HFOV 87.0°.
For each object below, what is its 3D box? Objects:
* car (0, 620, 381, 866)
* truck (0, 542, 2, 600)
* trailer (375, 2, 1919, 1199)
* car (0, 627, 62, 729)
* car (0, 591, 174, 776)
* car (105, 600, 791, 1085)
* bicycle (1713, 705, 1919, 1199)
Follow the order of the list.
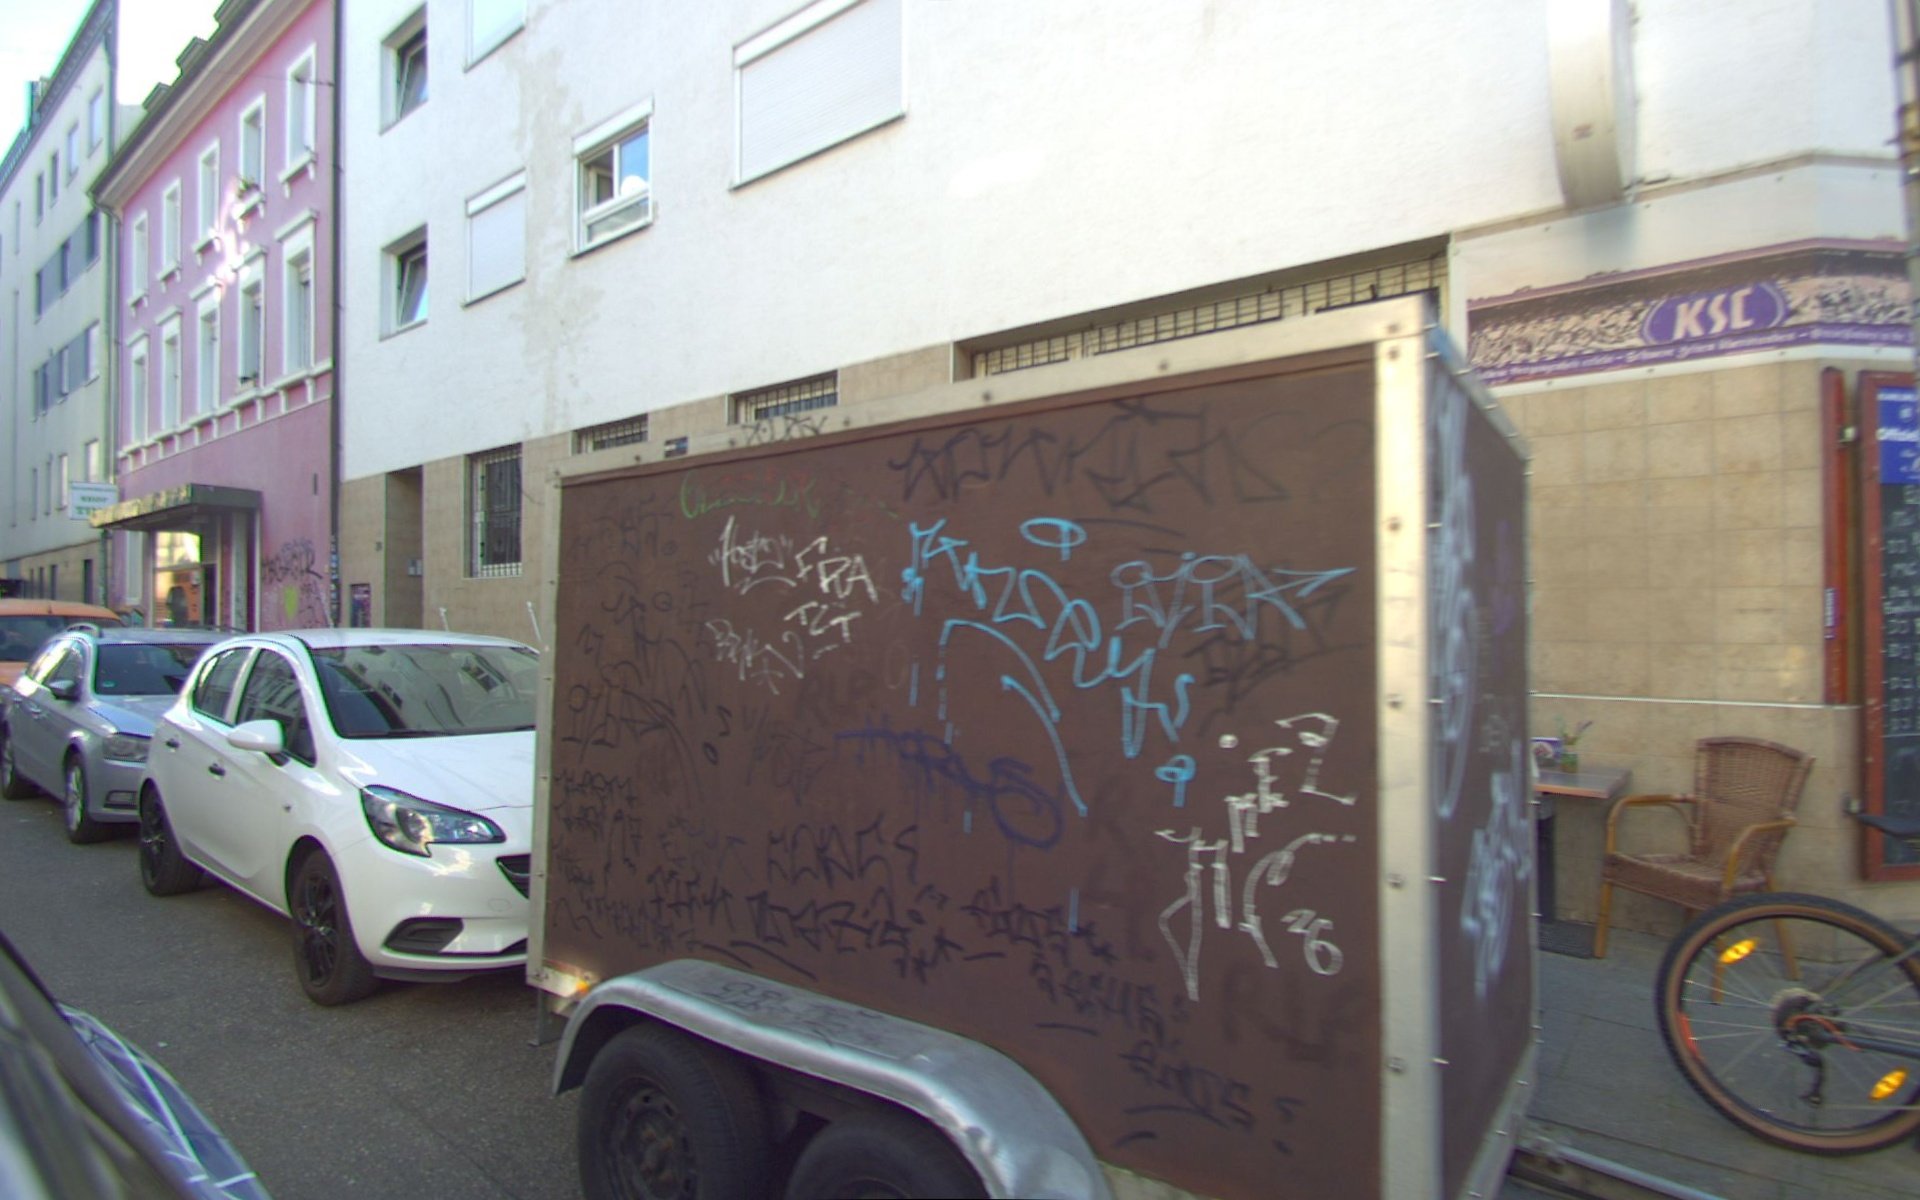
[{"bbox_3d":[-6.628,0.942,8.345,4.525,1.508,1.657,-1,-3,39],"label":"car"},{"bbox_3d":[-22.083,0.488,21.076,7.039,3.207,2.267,-1,-2,40],"label":"truck"},{"bbox_3d":[0.591,0.482,2.261,4.356,2.077,1.646,-1,-3,37],"label":"trailer"},{"bbox_3d":[-15.631,1.177,15.898,3.656,1.477,1.666,-1,-2,39],"label":"car"},{"bbox_3d":[-11.025,0.878,11.958,4.239,1.859,1.784,-1,-2,39],"label":"car"},{"bbox_3d":[-2.777,0.835,5.147,3.813,1.566,1.660,-1,-3,39],"label":"car"},{"bbox_3d":[2.726,0.882,2.399,1.457,1.147,0.571,-1,0,34],"label":"bicycle"}]
